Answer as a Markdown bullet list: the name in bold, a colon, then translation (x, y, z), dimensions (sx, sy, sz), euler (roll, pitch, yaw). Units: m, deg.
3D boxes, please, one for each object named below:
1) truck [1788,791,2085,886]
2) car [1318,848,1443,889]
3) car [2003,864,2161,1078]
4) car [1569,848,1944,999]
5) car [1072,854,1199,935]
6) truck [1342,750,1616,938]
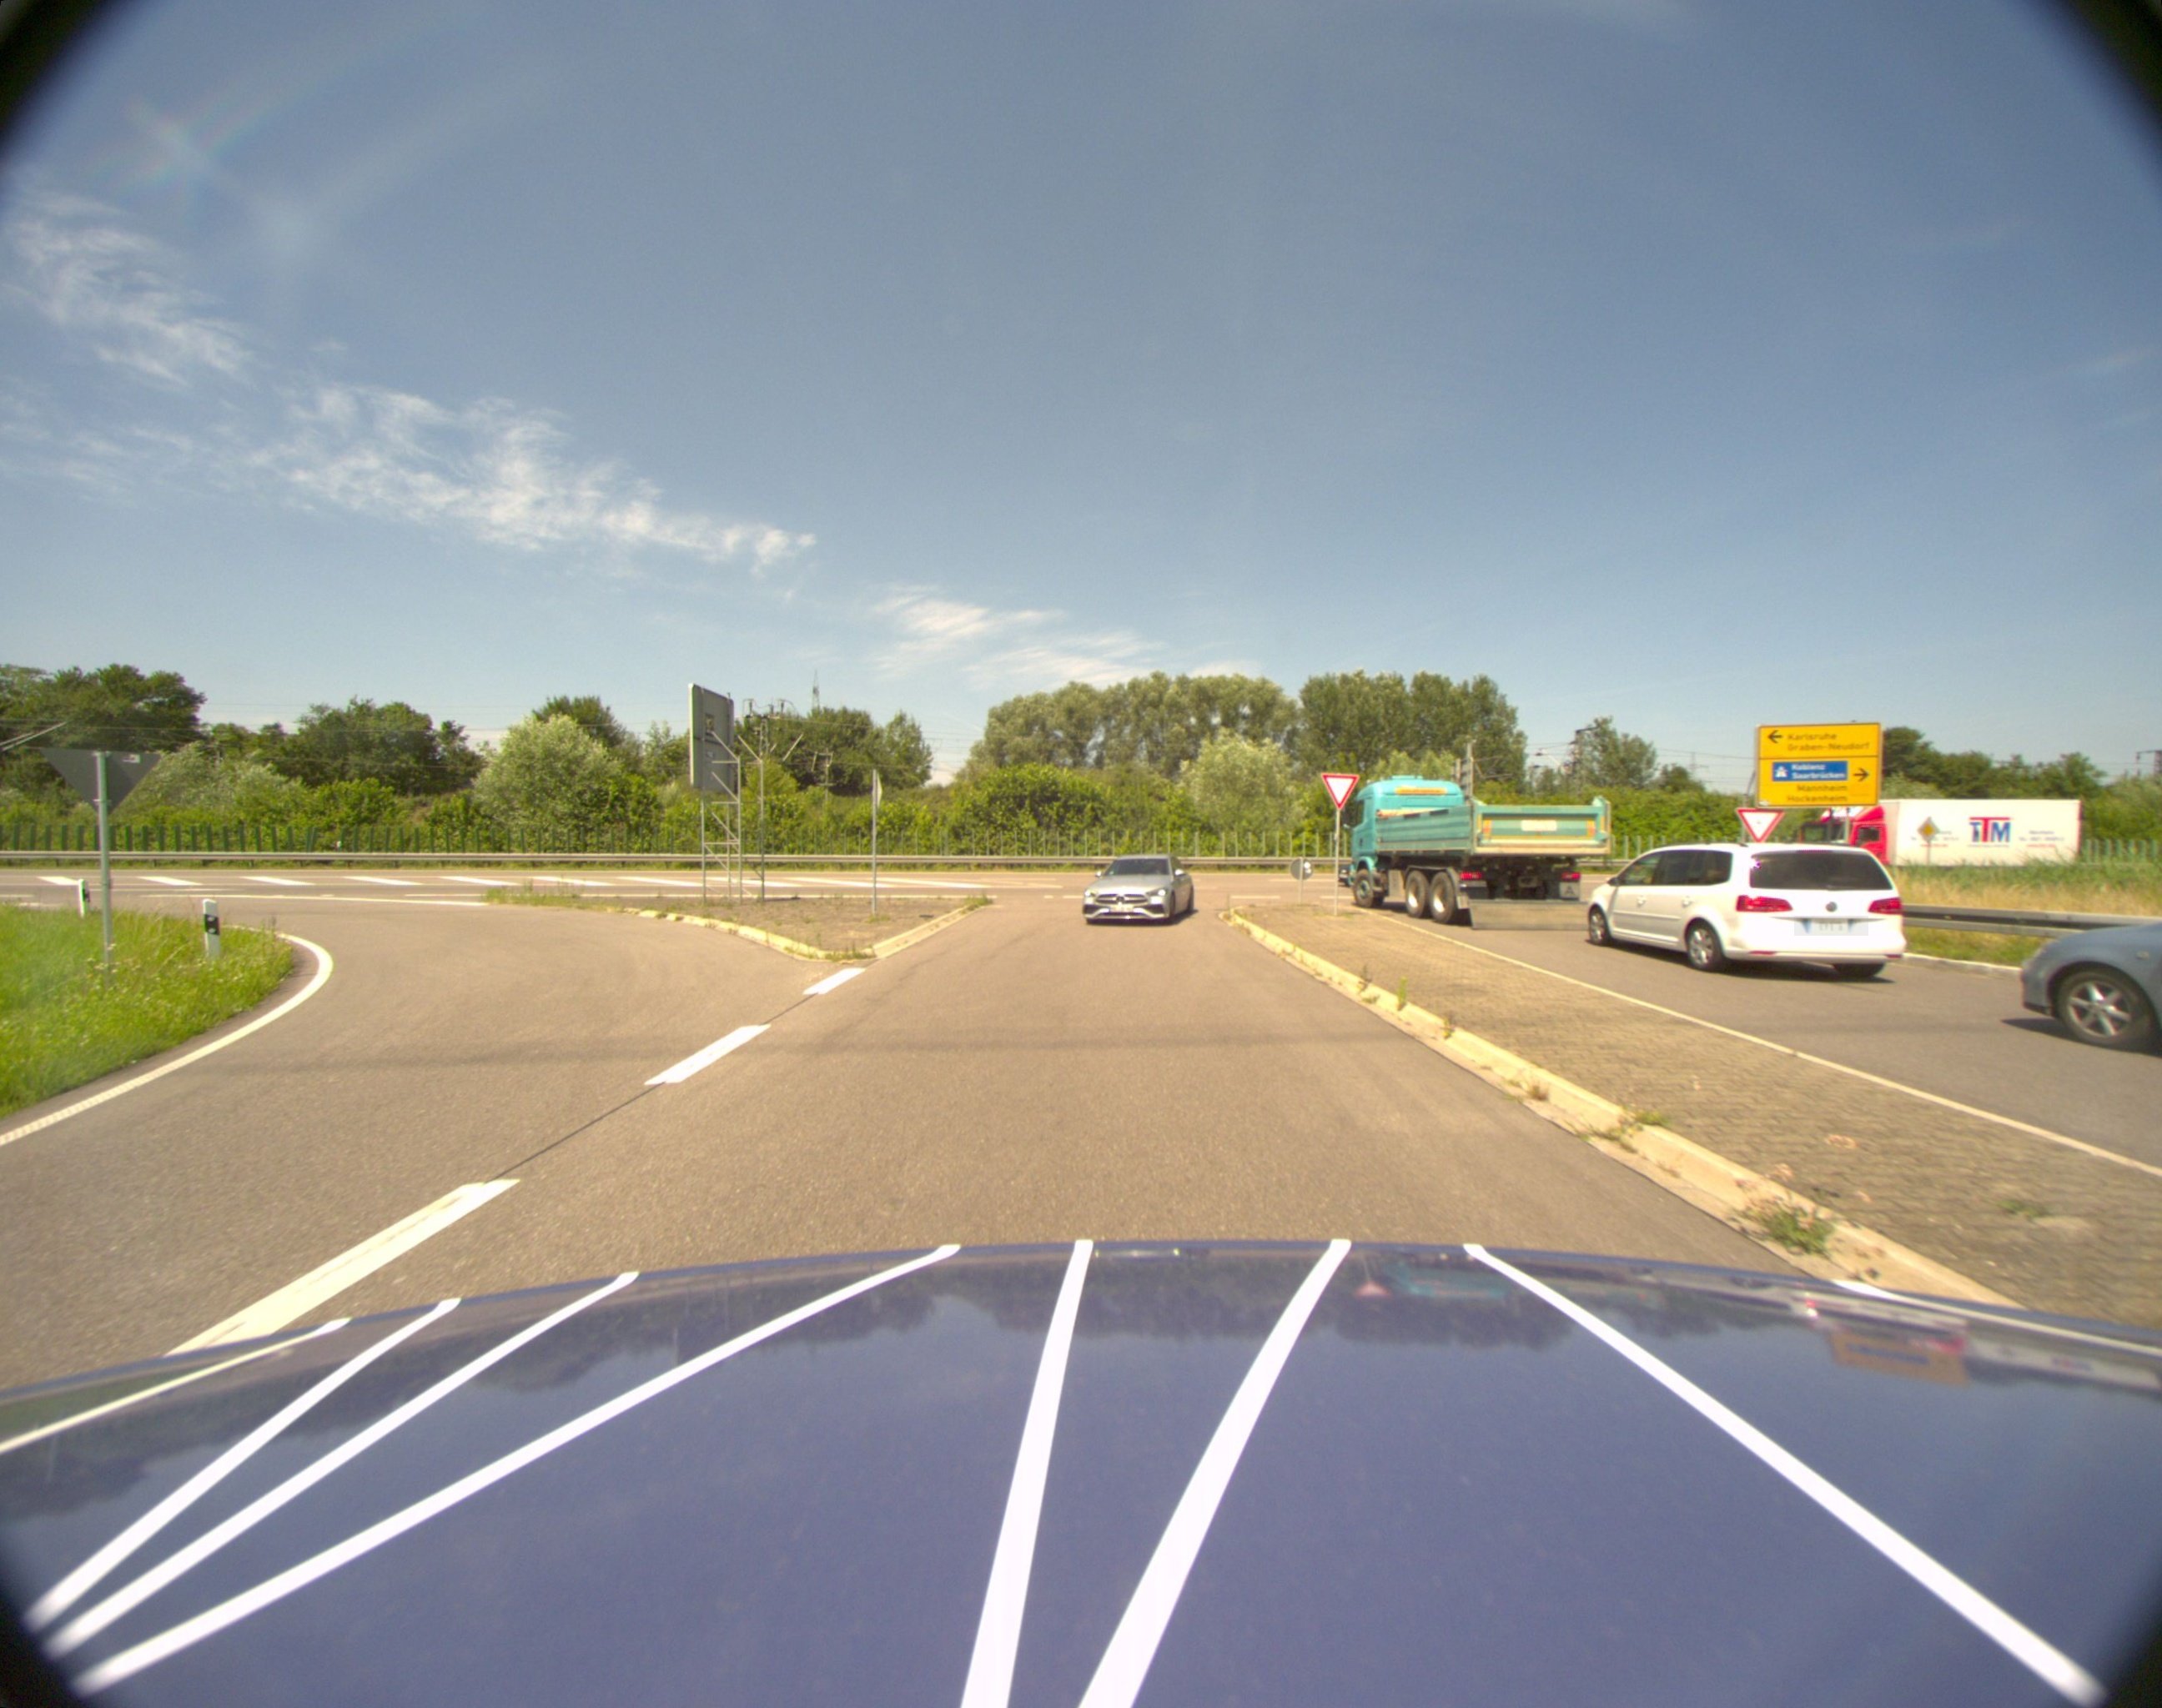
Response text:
- **truck**: translation (35.342, -0.631, 31.610), dimensions (9.549, 3.559, 2.724), euler (-1, 1, -2)
- **car**: translation (11.631, 0.547, 29.694), dimensions (4.147, 1.432, 1.823), euler (0, 4, -5)
- **car**: translation (8.055, 0.815, 4.121), dimensions (1.635, 1.451, 4.011), euler (0, 0, 9)
- **car**: translation (8.668, 0.761, 10.383), dimensions (1.775, 1.611, 4.334), euler (-1, 0, 9)
- **car**: translation (1.340, 0.774, 16.694), dimensions (1.821, 1.478, 4.154), euler (0, 1, 18)
- **truck**: translation (8.659, -0.209, 17.854), dimensions (2.608, 3.451, 7.610), euler (1, 0, 2)
